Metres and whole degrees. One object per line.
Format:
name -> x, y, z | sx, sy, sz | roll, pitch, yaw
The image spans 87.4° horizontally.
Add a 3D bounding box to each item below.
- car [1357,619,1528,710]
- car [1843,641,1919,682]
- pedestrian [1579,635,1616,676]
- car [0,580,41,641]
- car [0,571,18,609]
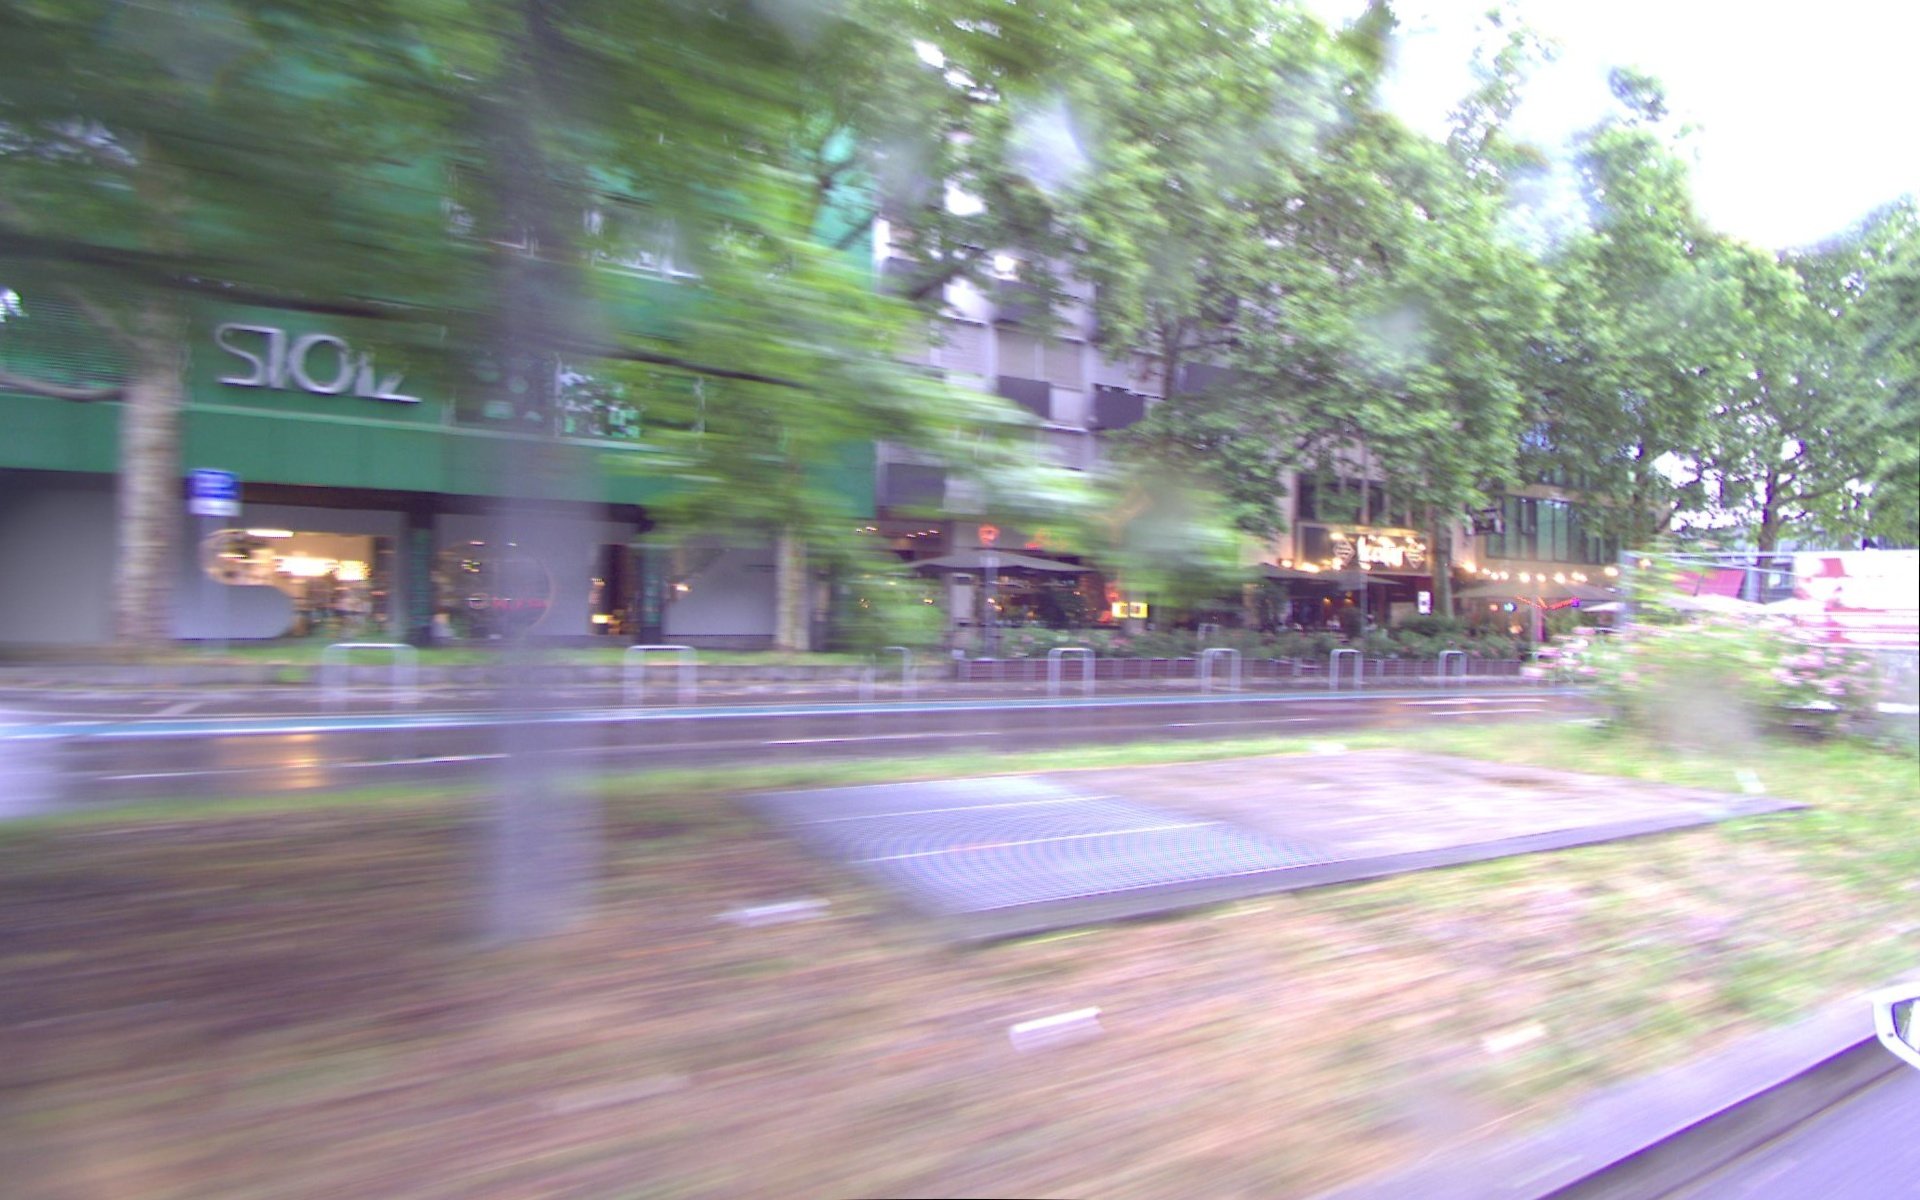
car -> 10.054, 1.268, 20.759 | 4.410, 1.648, 1.703 | 2, -1, -43
car -> 38.031, 2.481, 40.883 | 4.468, 1.529, 1.983 | 2, -2, -32
pedestrian -> 22.164, 1.927, 34.912 | 0.923, 1.398, 0.759 | 2, 0, -33
car -> -28.921, 0.255, 29.623 | 1.979, 1.706, 3.964 | 2, -1, -33
car -> -45.619, -0.496, 46.652 | 1.979, 1.706, 3.964 | 2, -1, -33
